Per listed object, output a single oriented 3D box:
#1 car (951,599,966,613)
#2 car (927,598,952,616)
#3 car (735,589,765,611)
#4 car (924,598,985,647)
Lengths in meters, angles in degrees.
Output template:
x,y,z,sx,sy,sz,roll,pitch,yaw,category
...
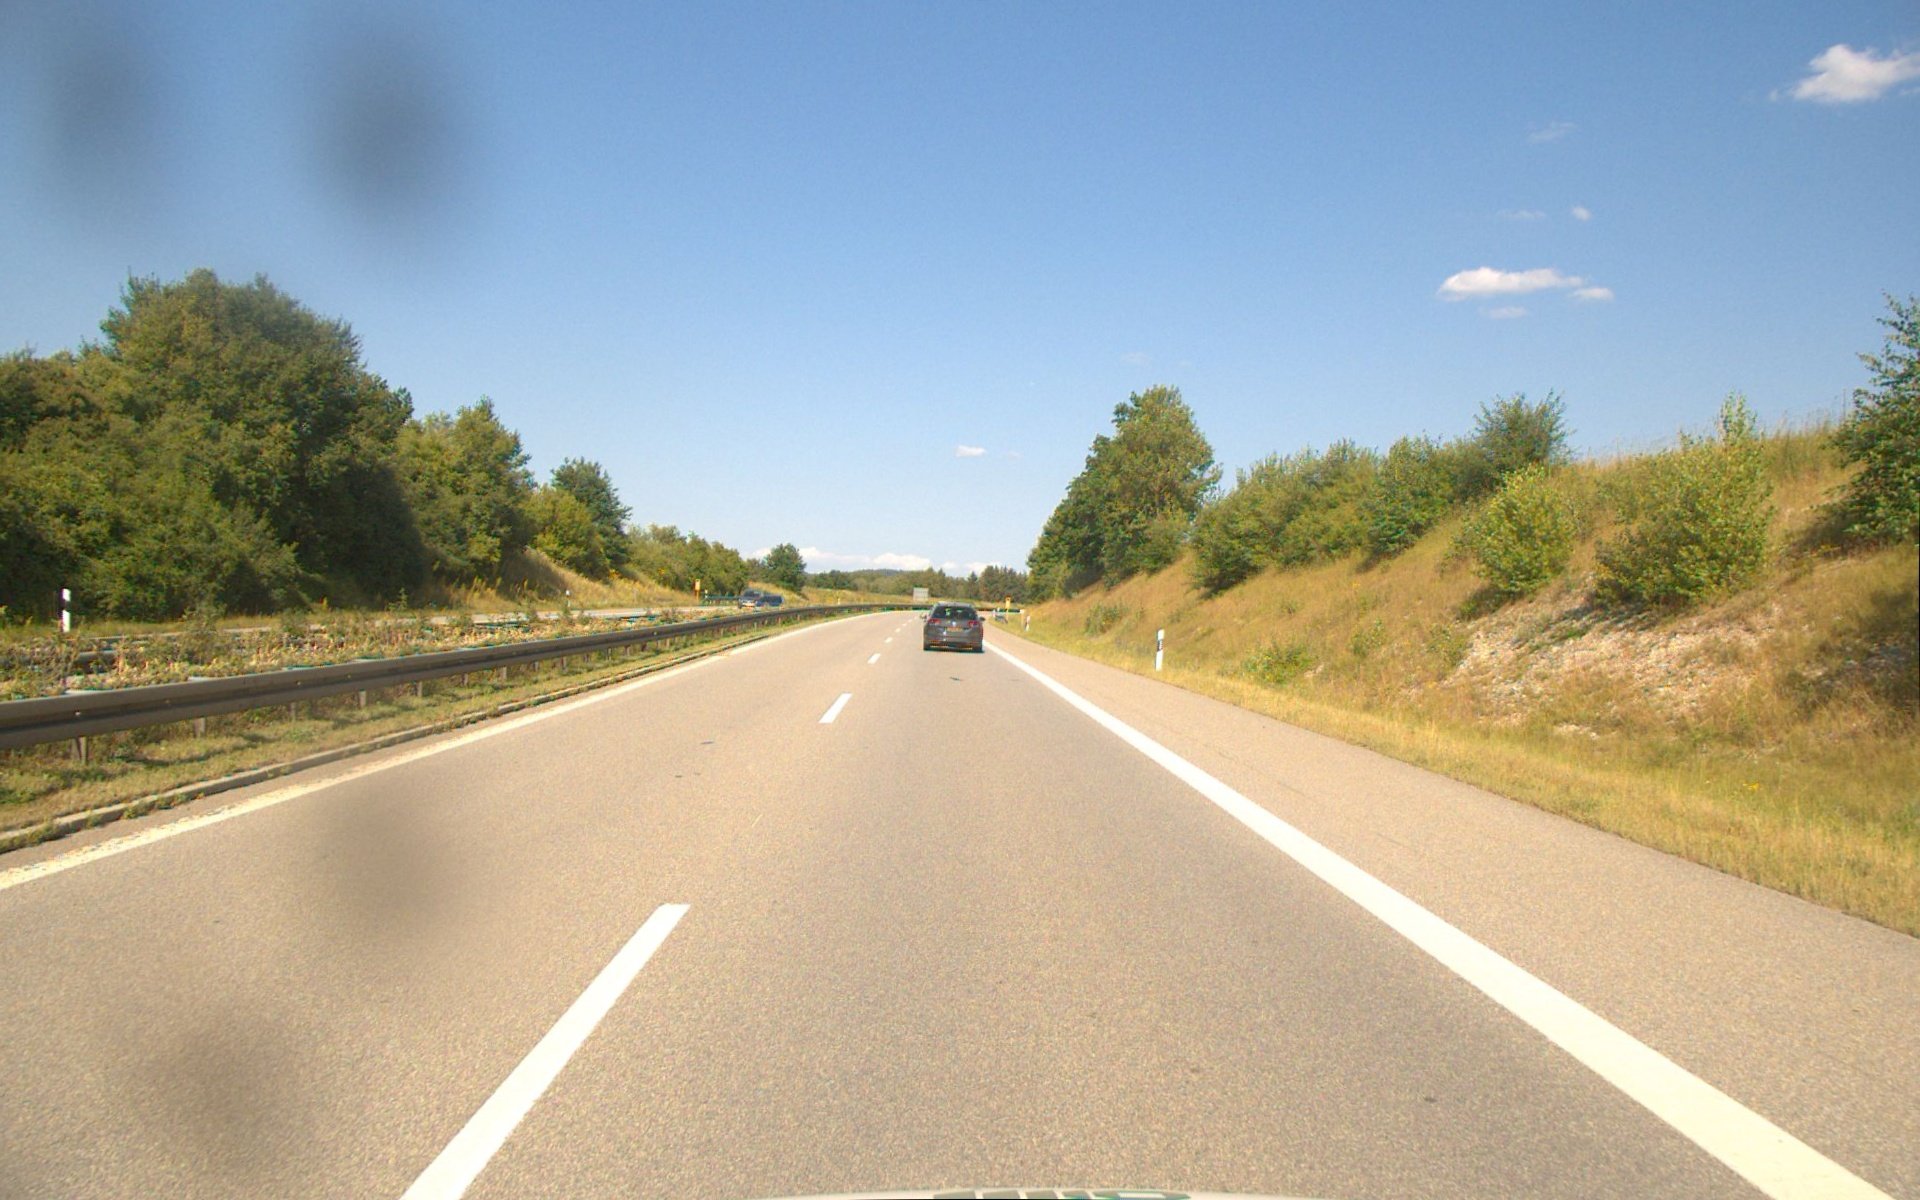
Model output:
x,y,z,sx,sy,sz,roll,pitch,yaw,category
-0.207,0.681,195.352,1.676,1.411,3.354,6,-1,-1,car
-1.831,0.651,147.490,1.968,1.367,3.998,6,-1,-2,car
-16.219,-0.008,127.908,1.732,1.612,4.791,3,0,-1,car
-0.178,0.652,49.824,1.754,1.368,3.999,1,0,-1,car
